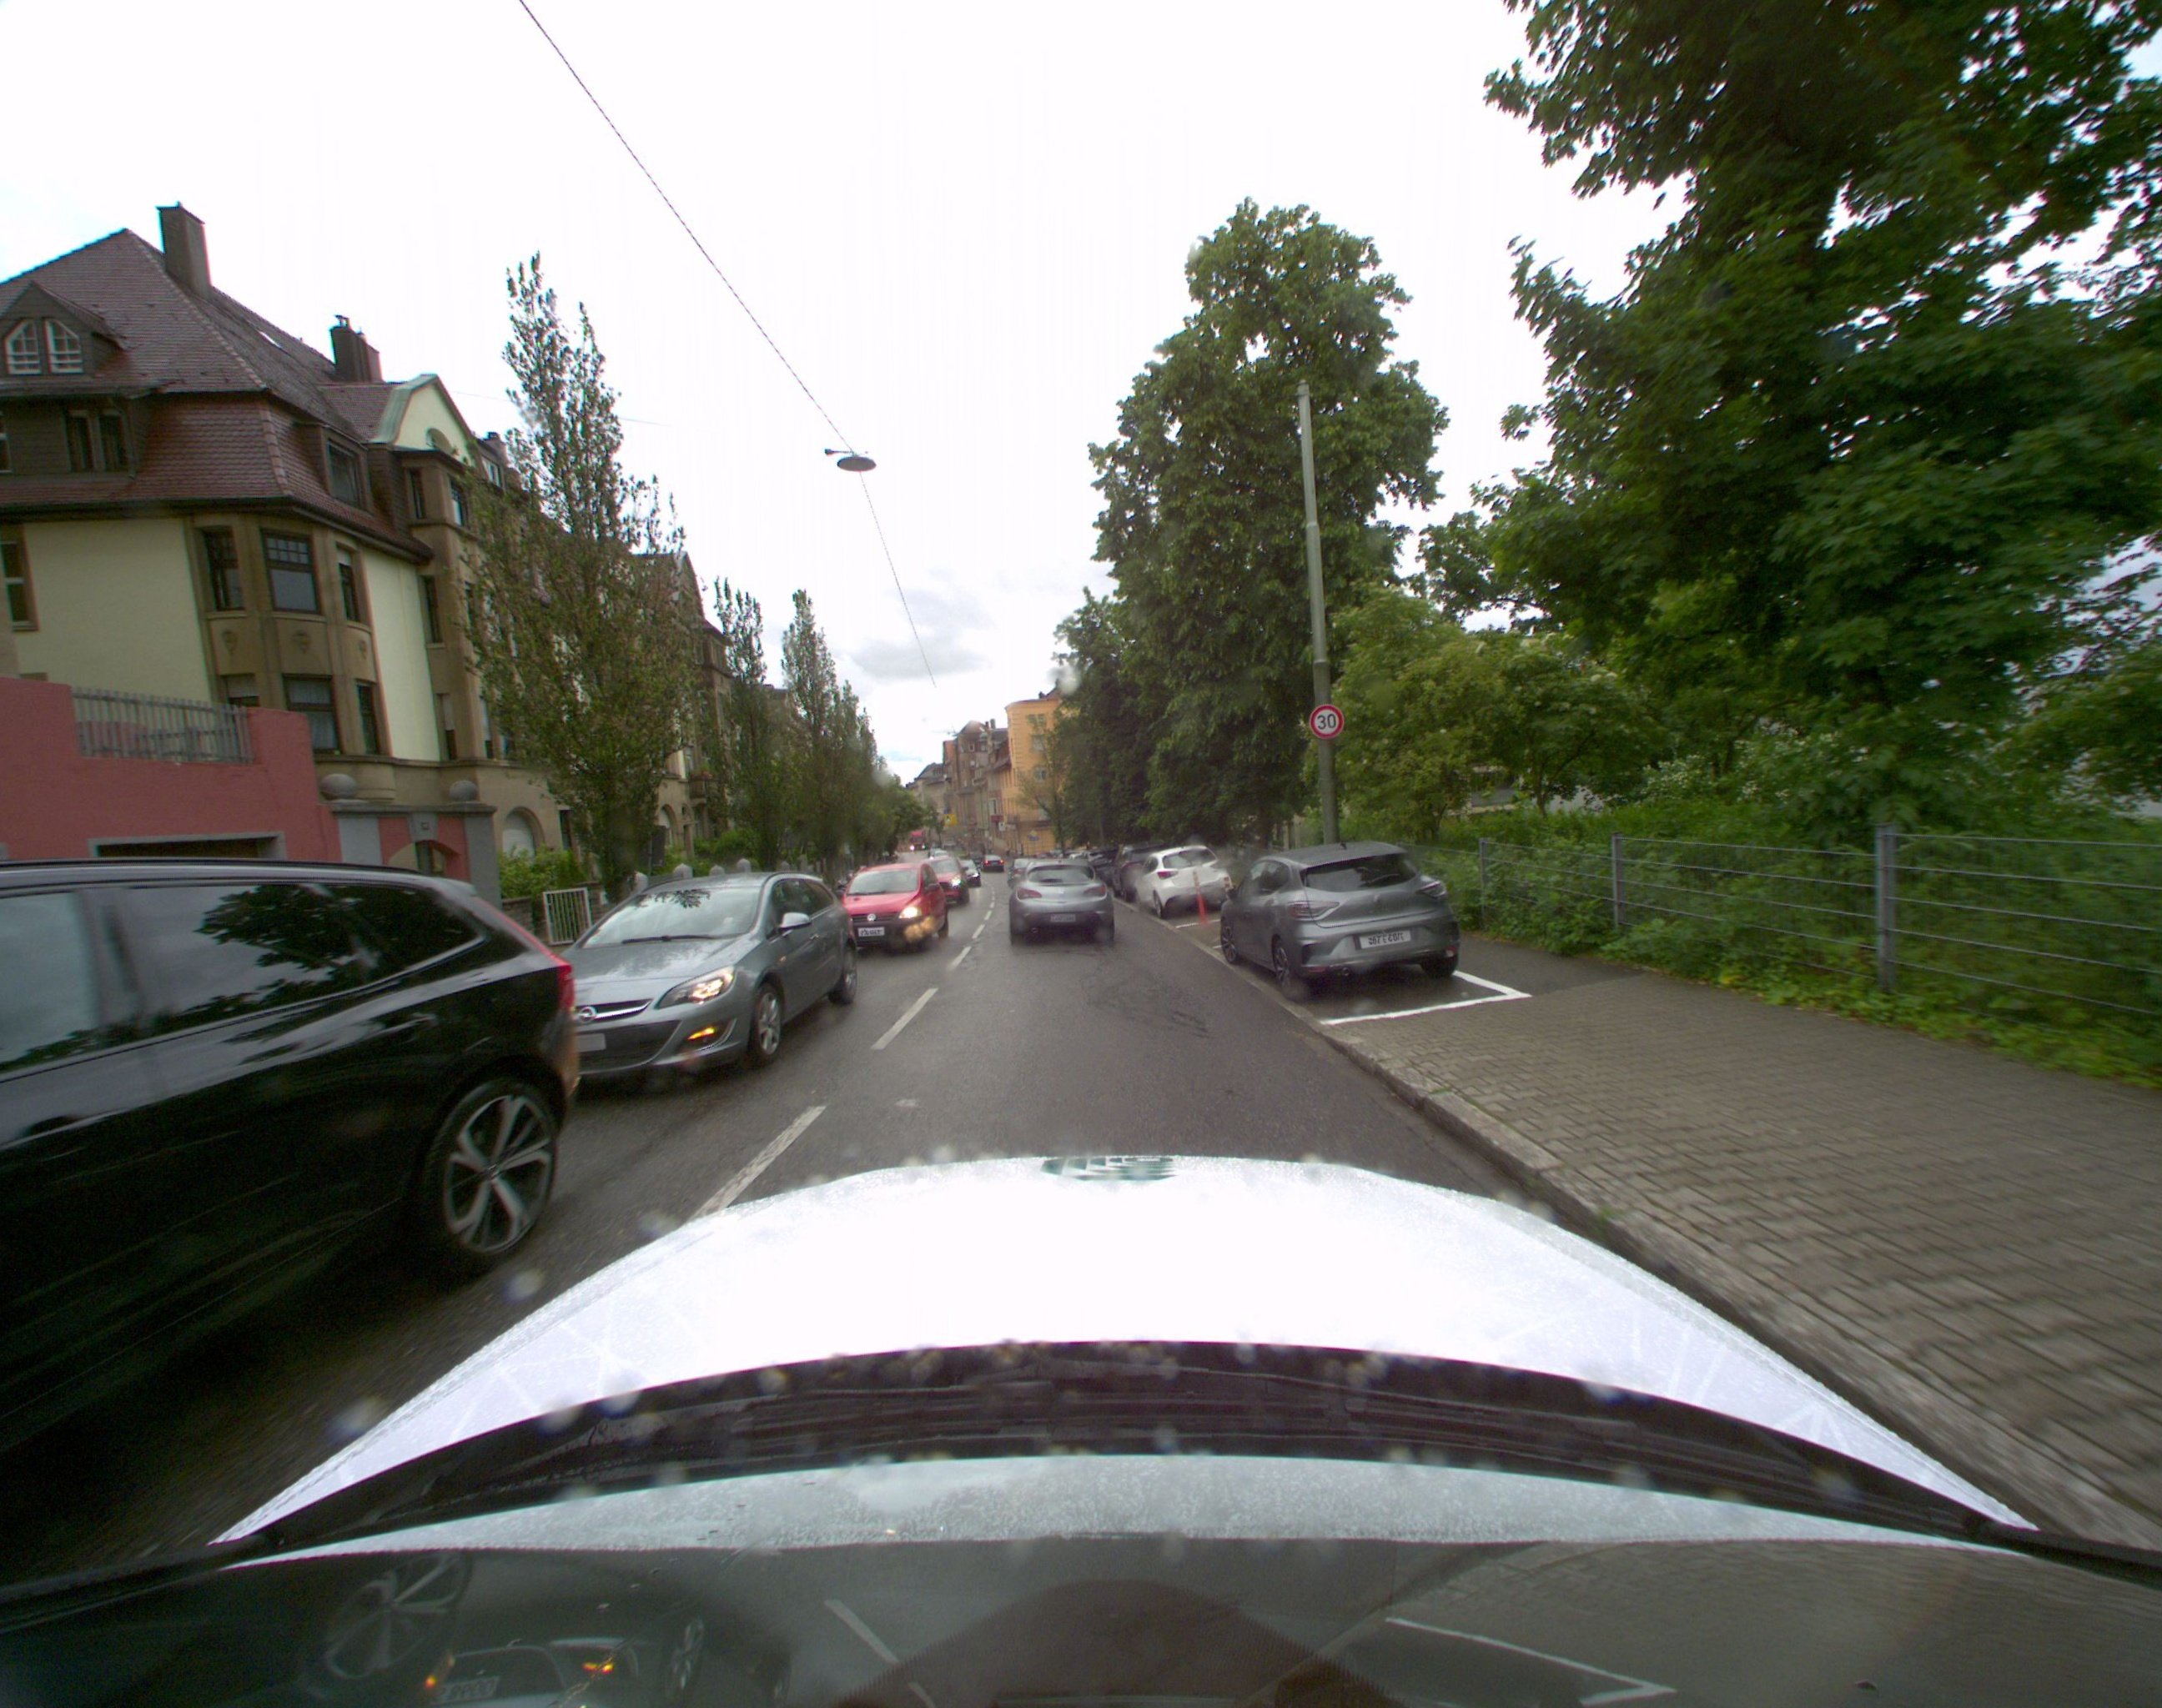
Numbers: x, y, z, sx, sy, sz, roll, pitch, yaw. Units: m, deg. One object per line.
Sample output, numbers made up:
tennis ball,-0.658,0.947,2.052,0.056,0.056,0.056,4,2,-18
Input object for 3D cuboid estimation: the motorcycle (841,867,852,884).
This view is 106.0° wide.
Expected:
motorcycle,-18.656,1.690,64.830,0.559,1.237,1.639,-5,0,-8

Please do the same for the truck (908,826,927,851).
truck,-30.193,-2.913,150.162,2.792,4.131,10.806,-4,3,-13

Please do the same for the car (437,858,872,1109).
car,-3.327,0.850,7.464,1.769,1.497,4.259,-4,0,-2

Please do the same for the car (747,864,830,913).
car,-10.850,1.218,30.498,1.811,1.612,3.995,-2,0,-3

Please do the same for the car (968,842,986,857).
car,-14.035,-0.542,110.054,1.995,1.688,3.985,-9,1,-10

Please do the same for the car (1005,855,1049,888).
car,-2.609,0.818,38.660,1.775,1.430,3.774,-2,0,-8

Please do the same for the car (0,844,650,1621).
car,-3.170,0.822,1.876,1.870,1.574,4.584,-3,0,-1

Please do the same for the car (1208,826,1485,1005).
car,2.702,0.550,9.259,1.645,1.404,3.810,-7,0,-2

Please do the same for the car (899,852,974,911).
car,-4.687,0.826,27.011,1.842,1.583,4.273,-7,1,-4

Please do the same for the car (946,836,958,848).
car,-21.745,-2.056,136.766,1.783,1.855,3.984,-3,0,-11

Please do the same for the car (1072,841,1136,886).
car,0.918,0.398,35.215,1.974,1.609,4.474,-6,0,-7

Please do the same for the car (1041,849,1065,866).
car,-2.645,0.333,77.539,1.768,1.429,3.791,-2,2,5

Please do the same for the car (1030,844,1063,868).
car,-2.600,0.135,60.195,1.815,1.467,3.986,-8,1,-10

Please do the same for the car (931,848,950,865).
car,-15.155,0.238,87.915,1.822,1.650,3.989,-5,1,-8

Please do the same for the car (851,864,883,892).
car,-14.646,1.609,55.931,1.790,1.651,4.178,-8,1,-13

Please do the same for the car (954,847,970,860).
car,-14.935,-0.066,101.988,1.642,1.536,3.700,-4,1,-13

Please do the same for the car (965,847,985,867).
car,-10.592,0.287,81.278,1.641,1.688,3.703,-4,5,-12

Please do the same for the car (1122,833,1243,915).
car,2.297,0.454,19.467,1.813,1.494,3.991,-9,0,-6

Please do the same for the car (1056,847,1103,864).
car,-0.111,0.183,70.474,3.777,1.430,1.774,0,-1,-13

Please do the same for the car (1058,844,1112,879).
car,0.139,0.402,41.356,1.975,1.452,4.101,-6,0,-8

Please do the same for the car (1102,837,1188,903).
car,1.873,0.431,25.305,1.818,1.682,4.797,-6,1,-4

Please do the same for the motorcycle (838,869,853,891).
motorcycle,-12.598,1.382,43.623,0.654,1.121,2.141,-2,0,-18

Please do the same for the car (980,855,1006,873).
car,-7.235,0.801,66.936,1.769,1.415,3.702,-2,1,-12

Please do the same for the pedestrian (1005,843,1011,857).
pedestrian,-8.440,-0.488,93.892,0.613,1.496,0.551,-4,3,-9

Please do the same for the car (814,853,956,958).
car,-3.444,0.813,15.029,1.650,1.568,3.998,-3,0,-2

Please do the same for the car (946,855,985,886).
car,-6.201,0.841,44.173,1.735,1.473,4.274,-5,0,-5

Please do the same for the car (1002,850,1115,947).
car,-0.487,0.722,15.547,1.811,1.429,3.995,-3,2,-4
